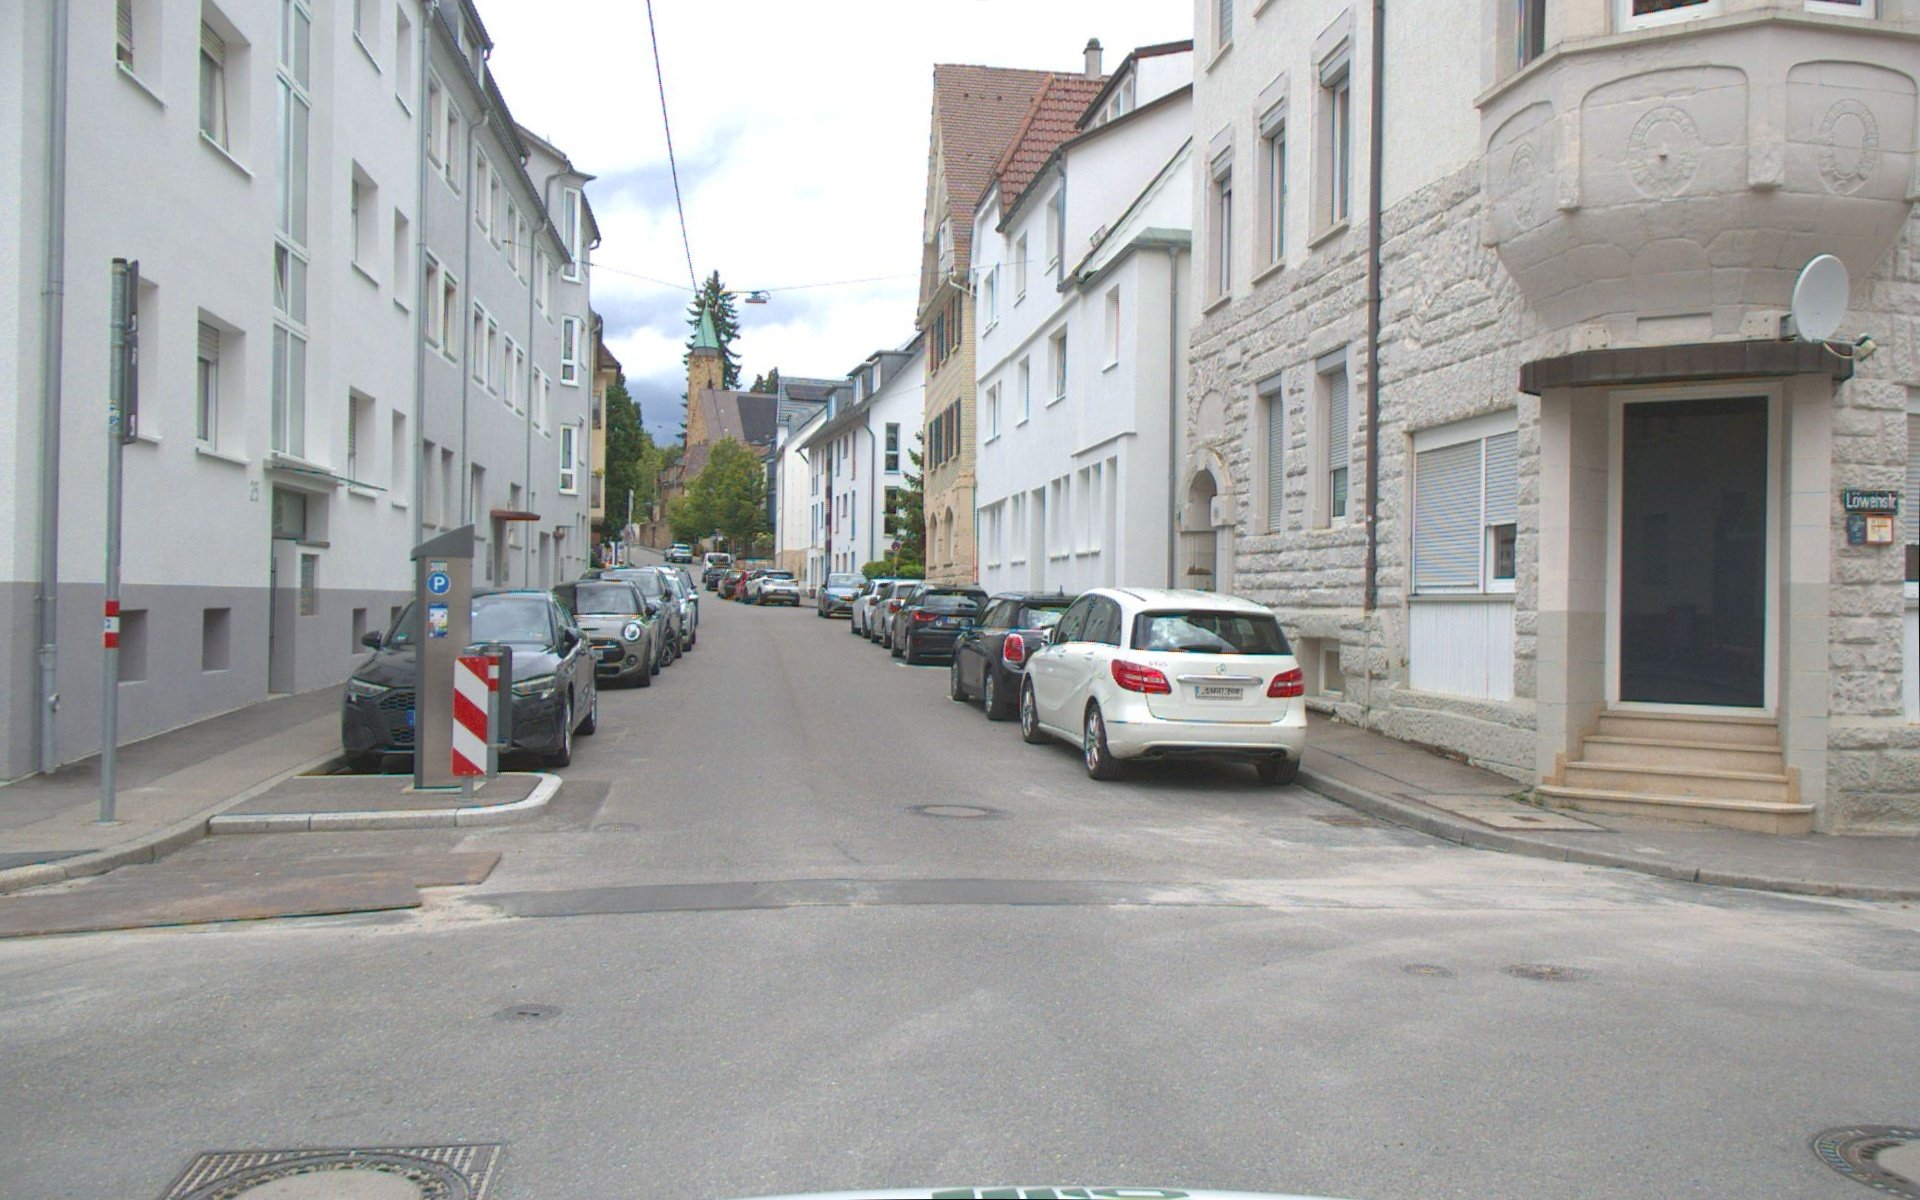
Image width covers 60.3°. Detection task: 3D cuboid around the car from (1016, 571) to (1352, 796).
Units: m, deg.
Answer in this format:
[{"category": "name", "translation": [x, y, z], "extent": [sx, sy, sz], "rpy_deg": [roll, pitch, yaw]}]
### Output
[{"category": "car", "translation": [1.818, 0.626, 14.794], "extent": [1.787, 1.627, 4.019], "rpy_deg": [3, 1, -10]}]

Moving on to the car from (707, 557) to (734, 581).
[{"category": "car", "translation": [-16.011, -2.089, 110.607], "extent": [1.637, 1.505, 3.618], "rpy_deg": [1, 2, -10]}]

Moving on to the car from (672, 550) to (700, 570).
[{"category": "car", "translation": [-24.659, -3.584, 148.839], "extent": [2.146, 1.722, 3.612], "rpy_deg": [1, 2, -15]}]

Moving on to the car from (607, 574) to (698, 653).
[{"category": "car", "translation": [-6.145, 0.227, 33.366], "extent": [1.698, 1.473, 3.712], "rpy_deg": [0, 1, -9]}]

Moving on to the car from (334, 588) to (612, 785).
[{"category": "car", "translation": [-4.107, 0.626, 14.598], "extent": [1.786, 1.416, 4.289], "rpy_deg": [0, 1, -9]}]

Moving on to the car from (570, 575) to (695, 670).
[{"category": "car", "translation": [-5.518, 0.324, 28.228], "extent": [1.696, 1.495, 3.716], "rpy_deg": [0, 1, -5]}]

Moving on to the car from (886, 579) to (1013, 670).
[{"category": "car", "translation": [-0.263, 0.391, 30.094], "extent": [1.637, 1.409, 4.019], "rpy_deg": [3, 1, -10]}]

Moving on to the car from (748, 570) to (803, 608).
[{"category": "car", "translation": [-8.036, -0.487, 71.765], "extent": [1.756, 1.505, 3.610], "rpy_deg": [1, 2, -17]}]

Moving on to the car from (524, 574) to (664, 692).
[{"category": "car", "translation": [-5.121, 0.400, 23.538], "extent": [1.698, 1.515, 3.712], "rpy_deg": [0, 1, -9]}]

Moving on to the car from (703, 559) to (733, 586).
[{"category": "car", "translation": [-14.525, -1.655, 99.093], "extent": [1.637, 1.505, 3.618], "rpy_deg": [1, 2, -10]}]

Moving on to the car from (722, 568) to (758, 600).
[{"category": "car", "translation": [-11.002, -0.822, 82.657], "extent": [1.637, 1.505, 3.618], "rpy_deg": [1, 2, -10]}]

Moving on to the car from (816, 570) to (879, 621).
[{"category": "car", "translation": [-3.687, -0.173, 53.882], "extent": [1.637, 1.505, 3.618], "rpy_deg": [3, 1, -10]}]

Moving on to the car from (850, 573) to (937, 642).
[{"category": "car", "translation": [-1.684, 0.146, 41.046], "extent": [1.637, 1.505, 3.618], "rpy_deg": [3, 1, -10]}]

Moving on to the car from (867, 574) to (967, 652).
[{"category": "car", "translation": [-0.986, 0.239, 36.289], "extent": [1.637, 1.505, 3.618], "rpy_deg": [3, 1, -10]}]

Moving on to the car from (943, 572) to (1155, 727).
[{"category": "car", "translation": [0.955, 0.511, 19.920], "extent": [1.637, 1.559, 4.019], "rpy_deg": [3, 1, -10]}]
